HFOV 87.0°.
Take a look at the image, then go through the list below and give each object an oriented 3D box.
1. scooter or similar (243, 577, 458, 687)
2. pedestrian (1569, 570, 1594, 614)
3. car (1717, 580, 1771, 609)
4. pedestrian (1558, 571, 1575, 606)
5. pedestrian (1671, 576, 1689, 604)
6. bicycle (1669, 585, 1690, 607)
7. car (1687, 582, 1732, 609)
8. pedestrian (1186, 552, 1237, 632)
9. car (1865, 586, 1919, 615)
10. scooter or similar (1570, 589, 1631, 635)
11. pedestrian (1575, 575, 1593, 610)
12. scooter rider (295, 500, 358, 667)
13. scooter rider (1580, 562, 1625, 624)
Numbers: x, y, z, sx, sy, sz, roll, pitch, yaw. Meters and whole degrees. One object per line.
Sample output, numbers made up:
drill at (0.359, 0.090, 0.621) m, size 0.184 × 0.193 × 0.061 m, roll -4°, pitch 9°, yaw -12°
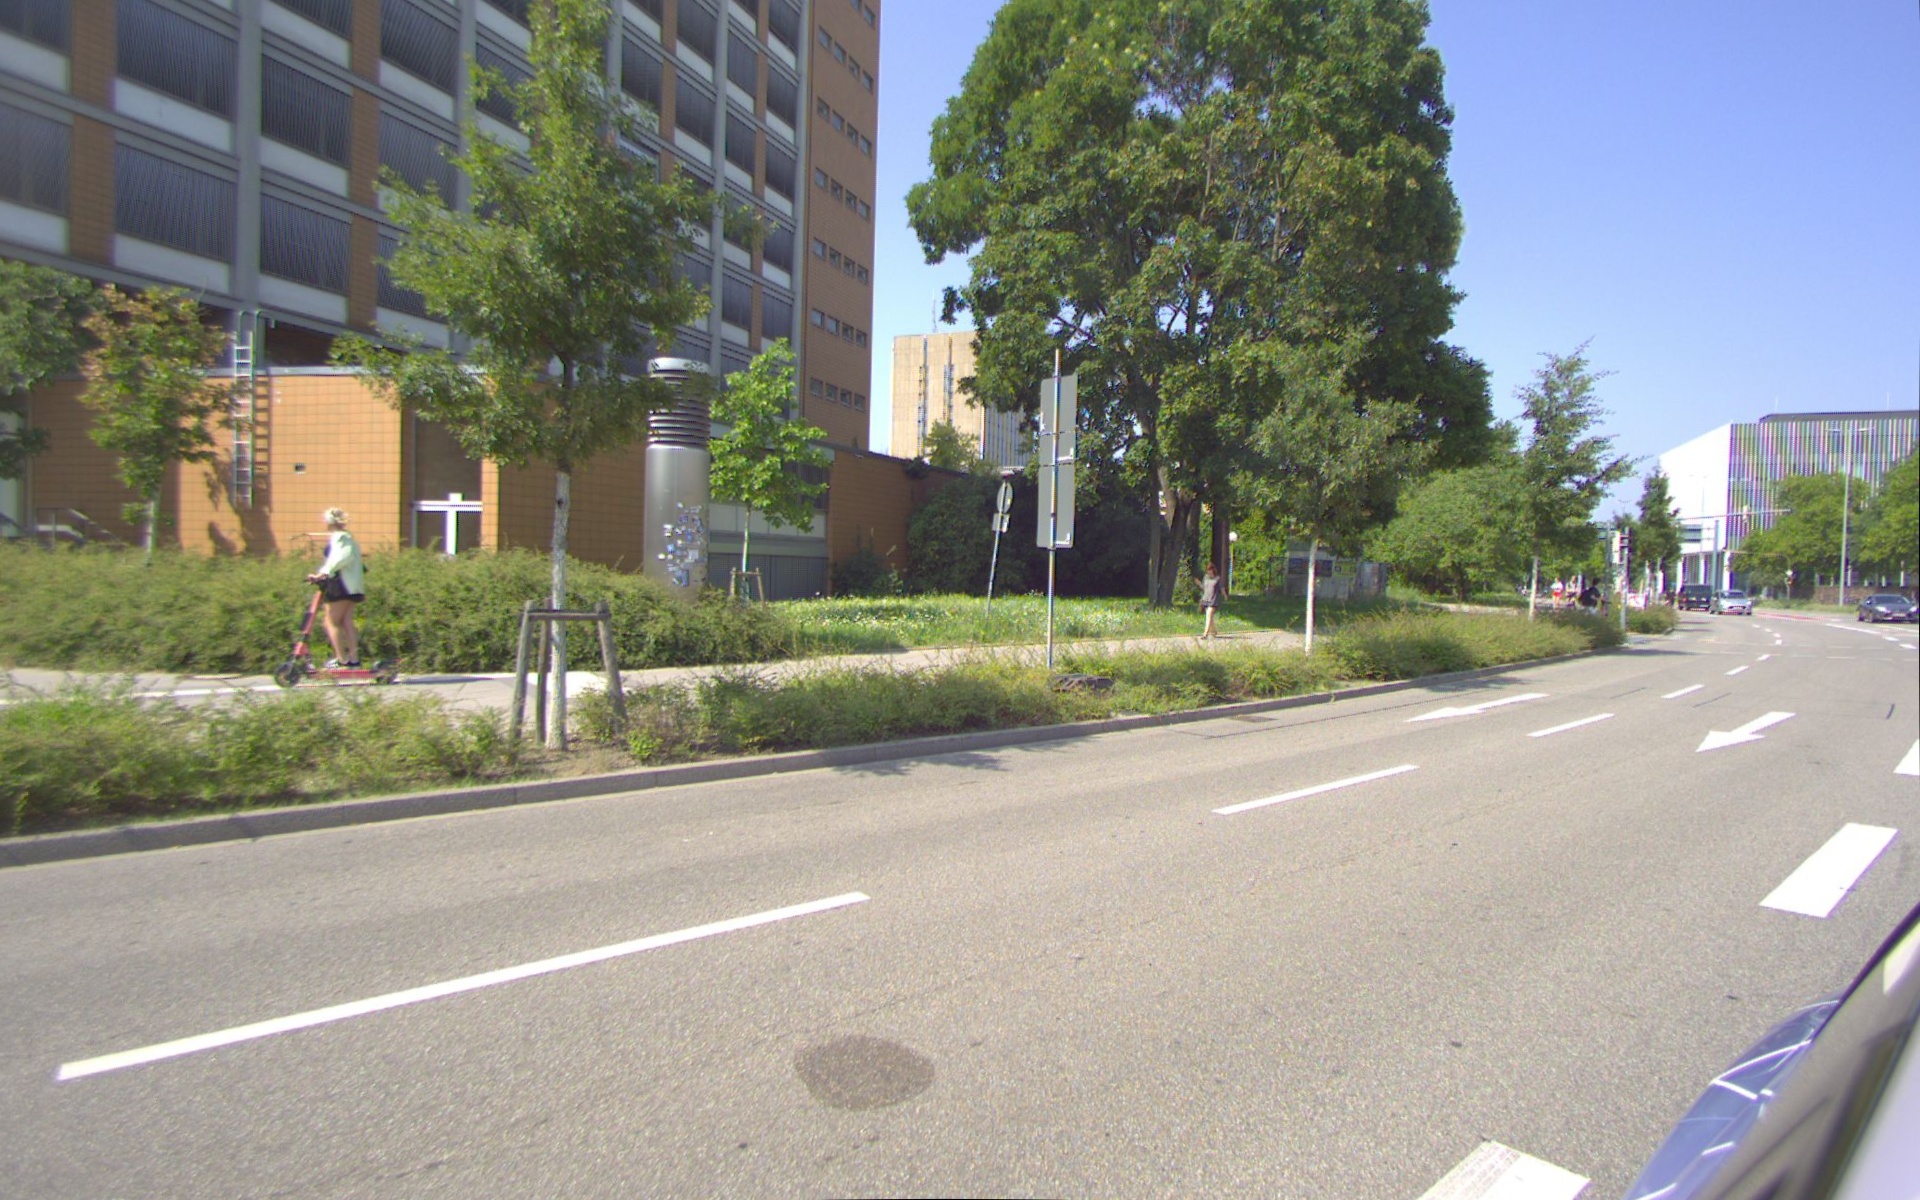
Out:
scooter or similar at (-6.598, 0.309, 11.039) m, size 1.965 × 1.072 × 0.559 m, roll -1°, pitch 4°, yaw -34°
pedestrian at (25.651, -0.345, 41.789) m, size 0.787 × 1.790 × 0.818 m, roll 2°, pitch 2°, yaw 29°
car at (49.180, -0.403, 63.576) m, size 1.982 × 1.699 × 3.961 m, roll 2°, pitch 2°, yaw 28°
pedestrian at (31.532, -0.600, 52.604) m, size 0.688 × 1.793 × 0.581 m, roll 2°, pitch 2°, yaw 29°
pedestrian at (43.295, -0.611, 60.837) m, size 0.774 × 1.689 × 0.543 m, roll 2°, pitch 2°, yaw 29°
bicycle at (43.355, -0.245, 60.982) m, size 0.779 × 1.227 × 1.771 m, roll 3°, pitch 2°, yaw 29°
car at (54.476, -0.348, 73.641) m, size 1.982 × 1.801 × 3.961 m, roll 2°, pitch 2°, yaw 28°
pedestrian at (5.646, -0.184, 22.672) m, size 0.705 × 1.725 × 0.866 m, roll 5°, pitch 4°, yaw 41°
car at (46.933, 0.009, 50.521) m, size 1.775 × 1.374 × 3.391 m, roll 1°, pitch 1°, yaw 28°
scooter or similar at (18.741, 0.332, 29.632) m, size 0.573 × 1.249 × 1.371 m, roll 1°, pitch 3°, yaw -25°
pedestrian at (32.182, -0.406, 52.226) m, size 0.688 × 1.793 × 0.581 m, roll 2°, pitch 2°, yaw 29°
scooter rider at (-6.806, -0.193, 10.863) m, size 0.529 × 1.720 × 0.673 m, roll -1°, pitch 4°, yaw -33°
scooter rider at (18.809, -0.205, 29.627) m, size 0.674 × 1.760 × 0.807 m, roll 1°, pitch 3°, yaw -25°
